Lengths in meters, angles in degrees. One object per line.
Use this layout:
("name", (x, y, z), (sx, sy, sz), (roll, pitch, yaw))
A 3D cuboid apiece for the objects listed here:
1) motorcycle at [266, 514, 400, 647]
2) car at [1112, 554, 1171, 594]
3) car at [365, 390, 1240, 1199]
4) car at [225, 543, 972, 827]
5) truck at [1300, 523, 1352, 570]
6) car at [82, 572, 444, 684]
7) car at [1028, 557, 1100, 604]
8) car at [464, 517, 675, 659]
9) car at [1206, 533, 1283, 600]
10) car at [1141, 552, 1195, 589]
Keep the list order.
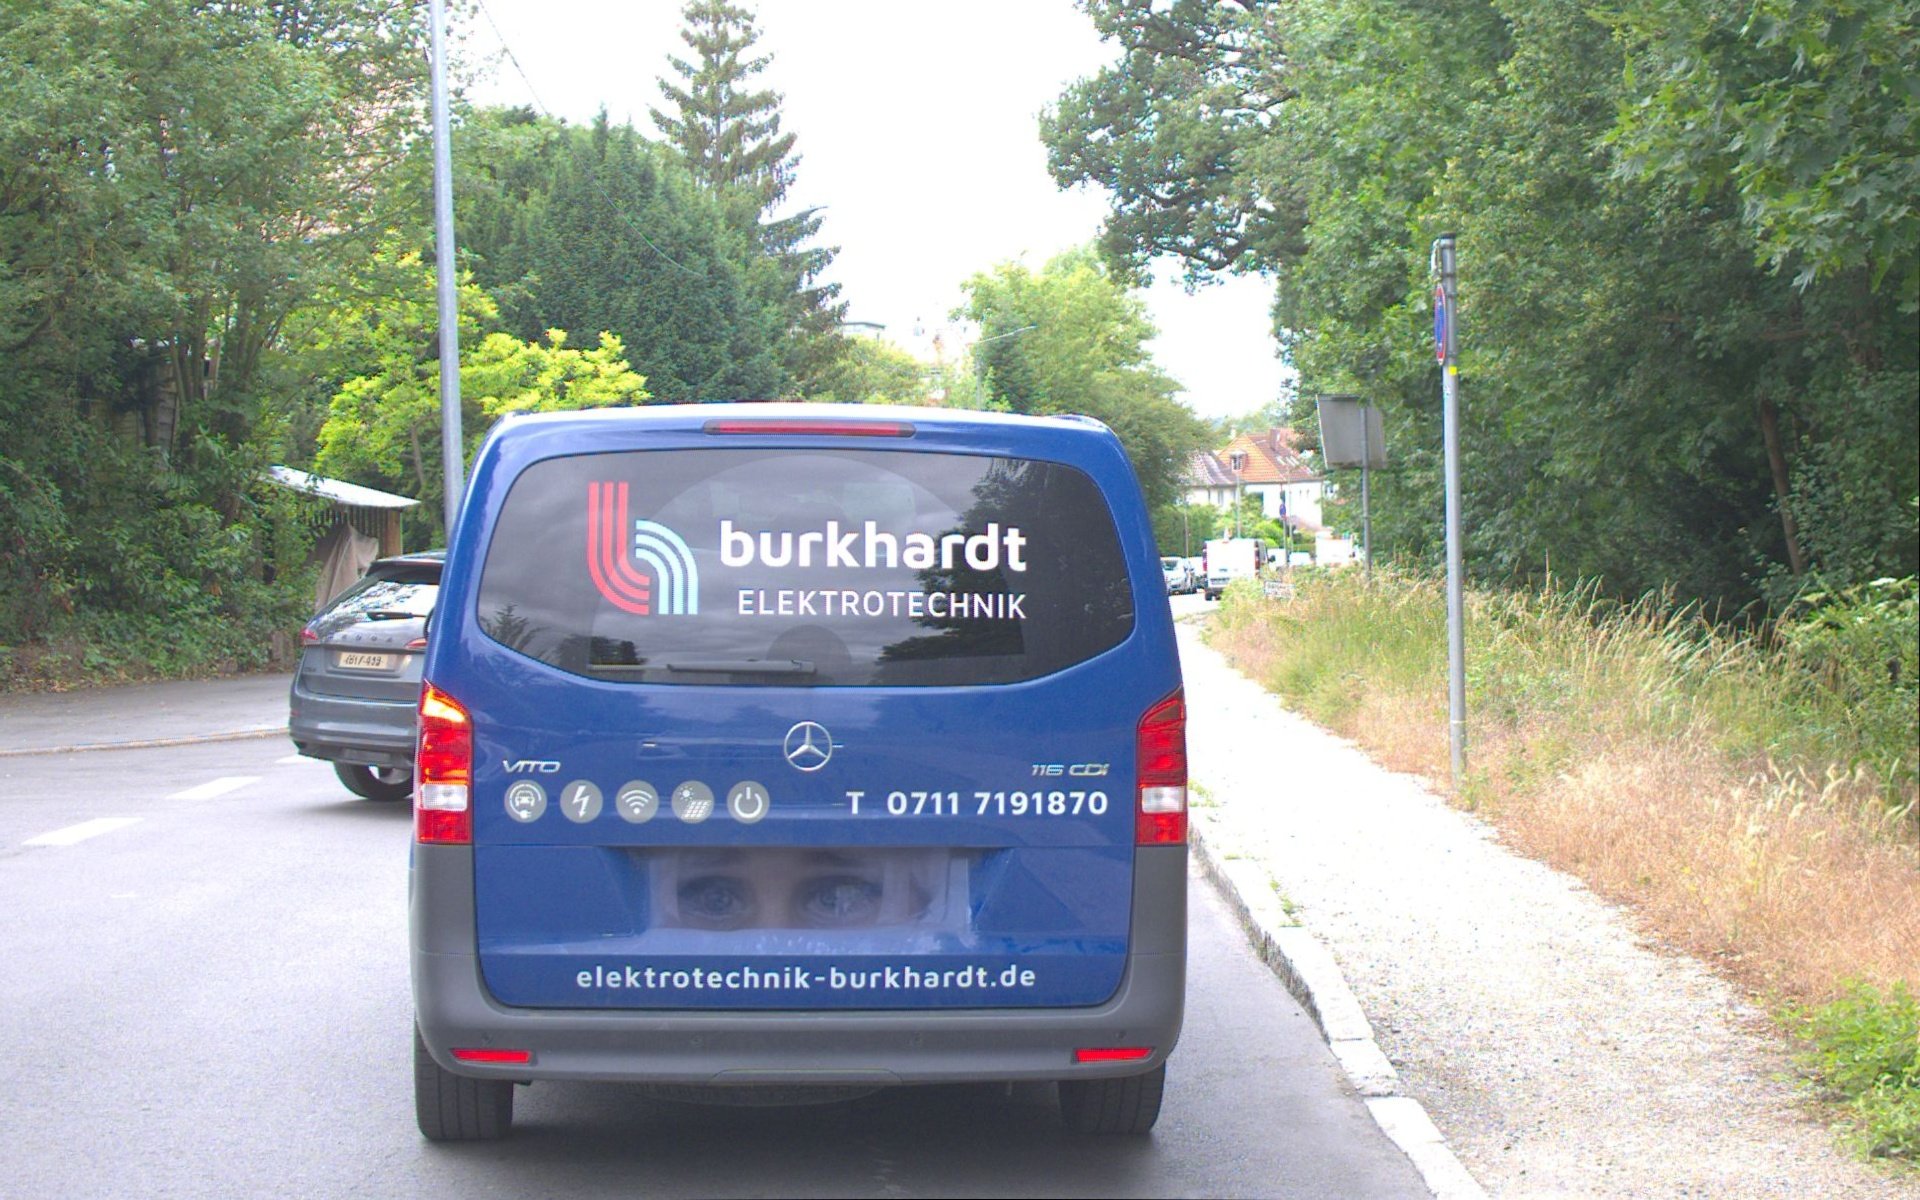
("motorcycle", (-7.239, -0.241, 39.845), (0.810, 1.480, 2.895), (1, 1, 4))
("car", (6.578, -0.942, 124.078), (1.749, 1.400, 3.999), (1, 1, 8))
("car", (-0.546, 0.417, 9.880), (1.936, 1.873, 4.531), (0, 2, -5))
("car", (-1.965, 0.412, 19.696), (1.739, 1.442, 4.170), (1, 1, 41))
("truck", (22.092, -3.261, 207.003), (2.764, 2.784, 9.265), (0, 1, 8))
("car", (-9.473, 0.367, 46.894), (4.482, 1.436, 1.878), (1, 1, 6))
("car", (3.204, -0.609, 105.235), (1.749, 1.400, 3.999), (1, 1, 8))
("car", (-4.232, -0.158, 37.796), (1.705, 1.462, 4.075), (1, 1, 2))
("car", (9.253, -1.113, 111.353), (2.206, 2.056, 6.133), (0, 1, 7))
("car", (8.065, -1.158, 133.327), (1.749, 1.400, 3.999), (1, 1, 8))
